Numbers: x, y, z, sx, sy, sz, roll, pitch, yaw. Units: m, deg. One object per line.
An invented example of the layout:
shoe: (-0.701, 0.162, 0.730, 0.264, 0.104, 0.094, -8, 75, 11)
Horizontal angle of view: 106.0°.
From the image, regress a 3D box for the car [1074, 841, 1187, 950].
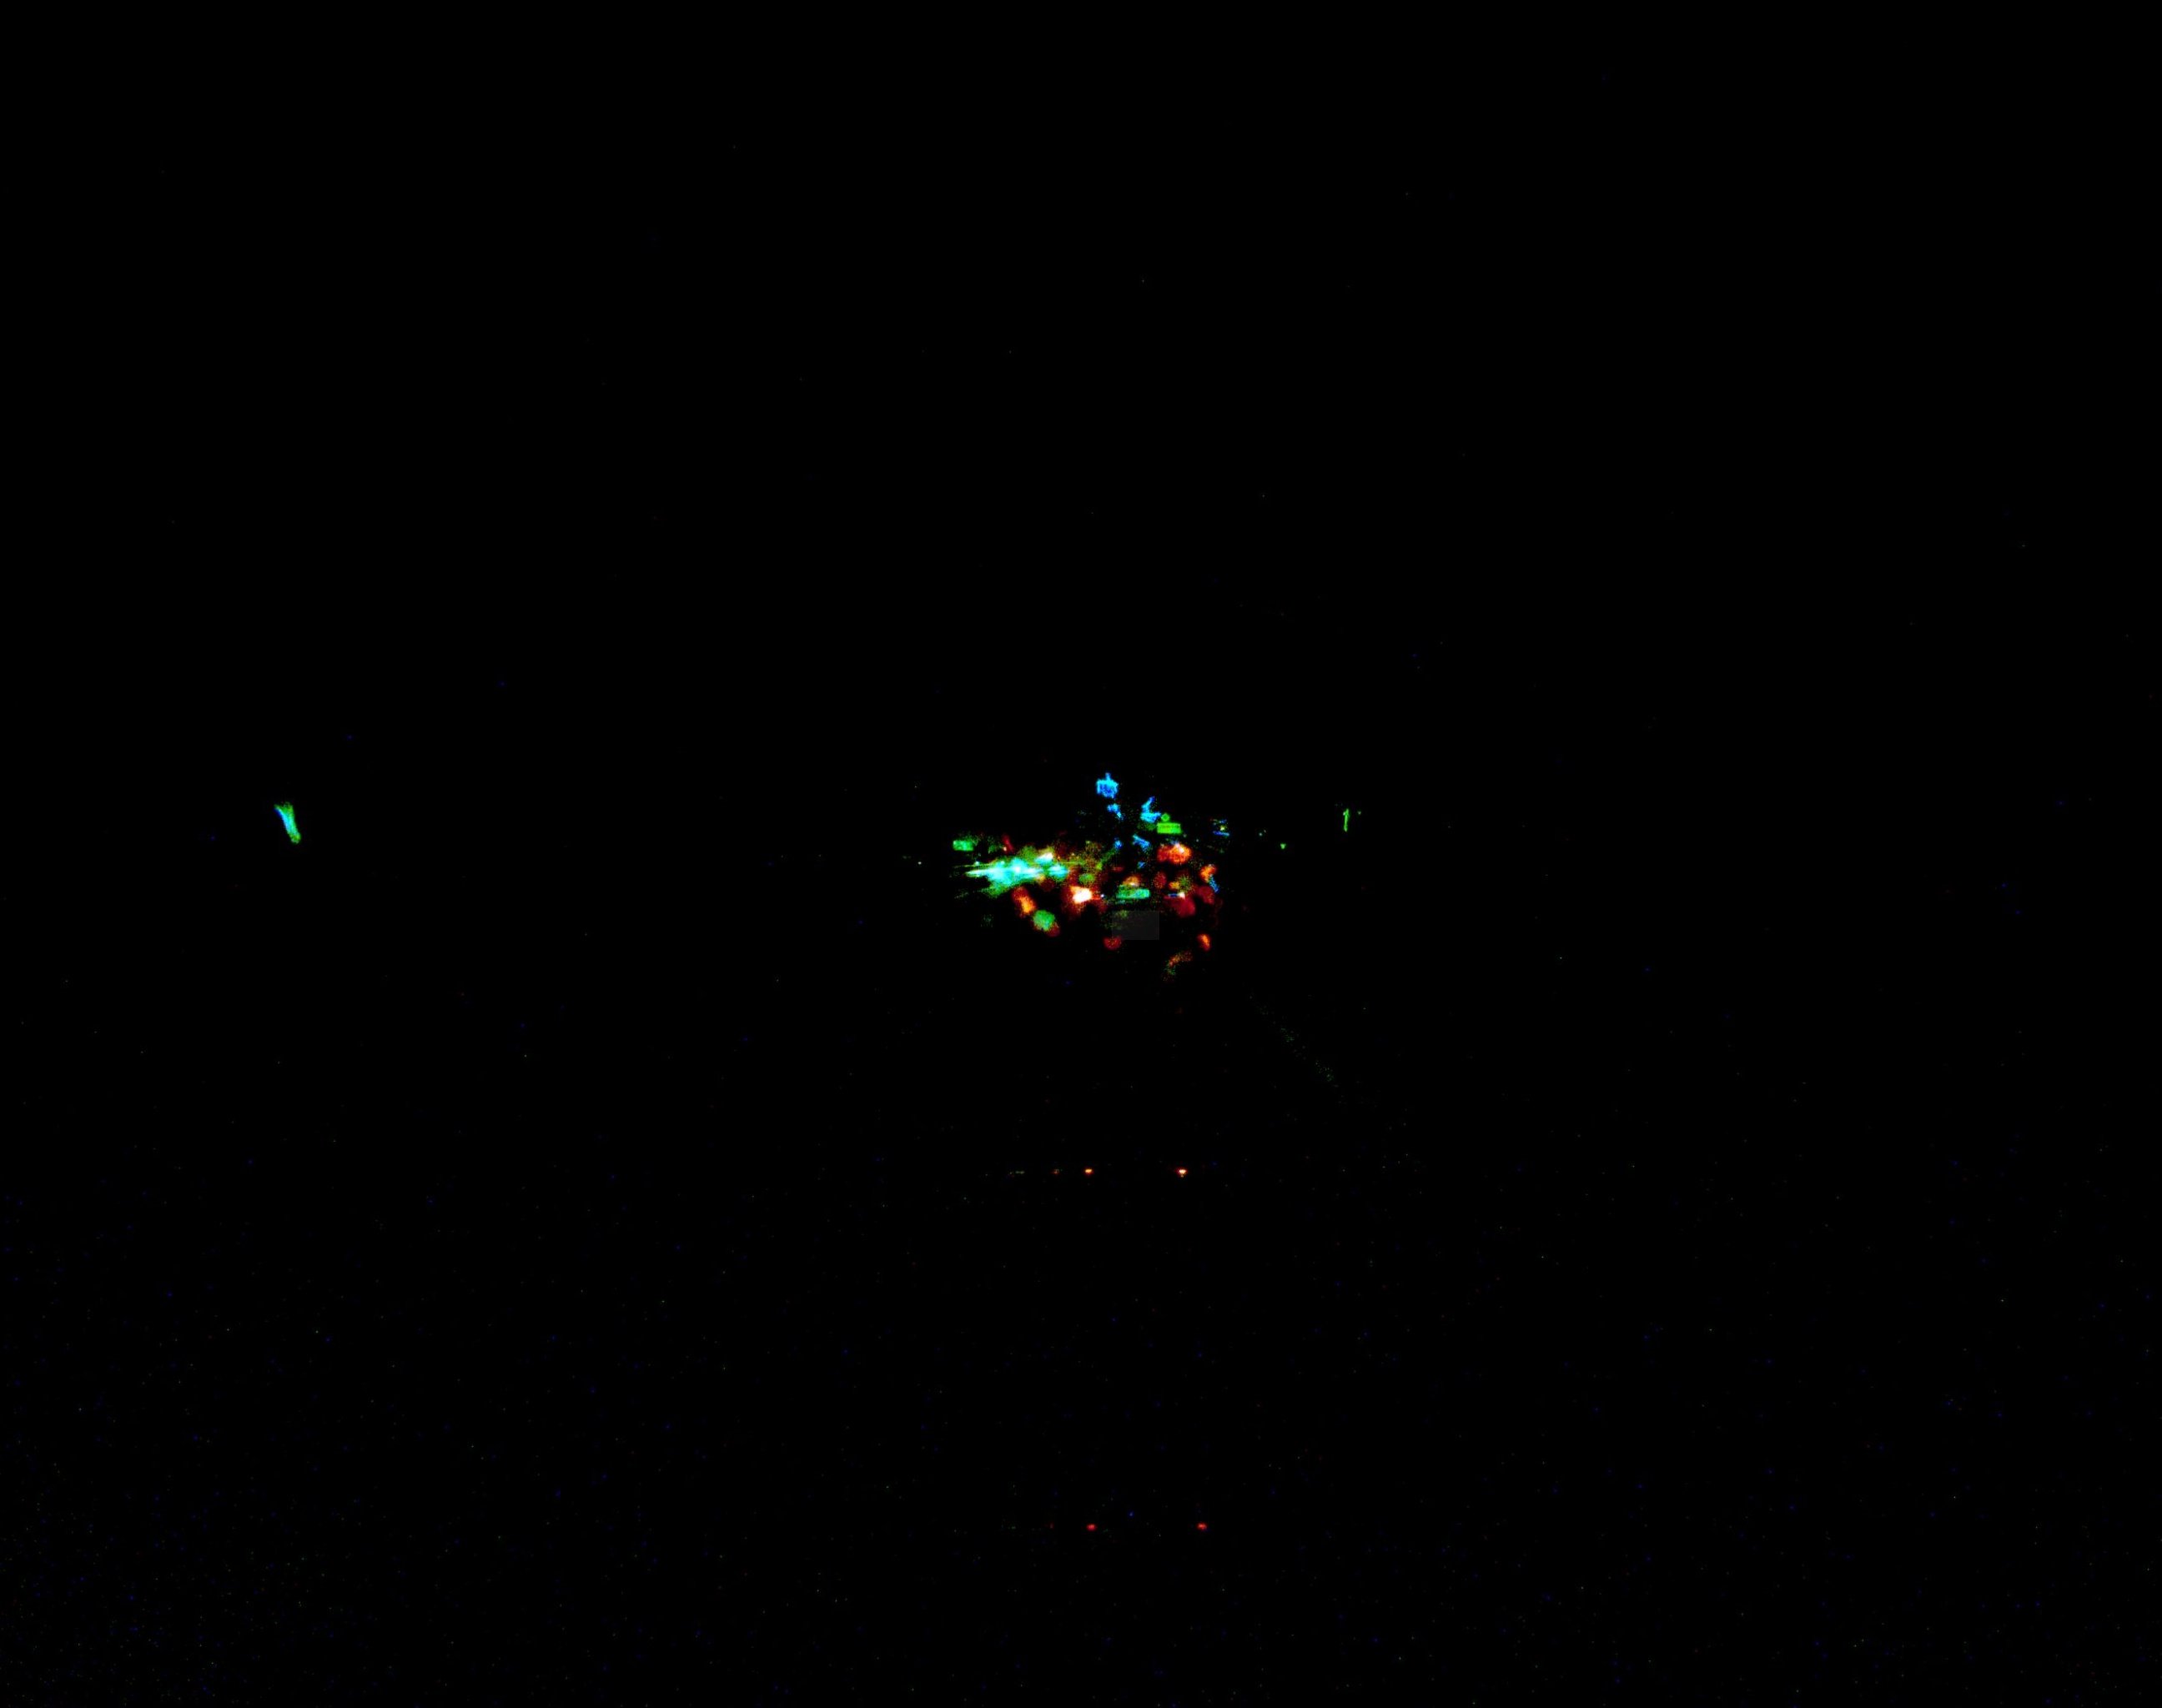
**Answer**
car: (0.858, 0.672, 14.875, 1.768, 1.712, 4.002, 0, -1, 2)

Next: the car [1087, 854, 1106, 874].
car: (1.735, 1.170, 92.526, 1.988, 2.014, 3.997, -2, -3, -1)
